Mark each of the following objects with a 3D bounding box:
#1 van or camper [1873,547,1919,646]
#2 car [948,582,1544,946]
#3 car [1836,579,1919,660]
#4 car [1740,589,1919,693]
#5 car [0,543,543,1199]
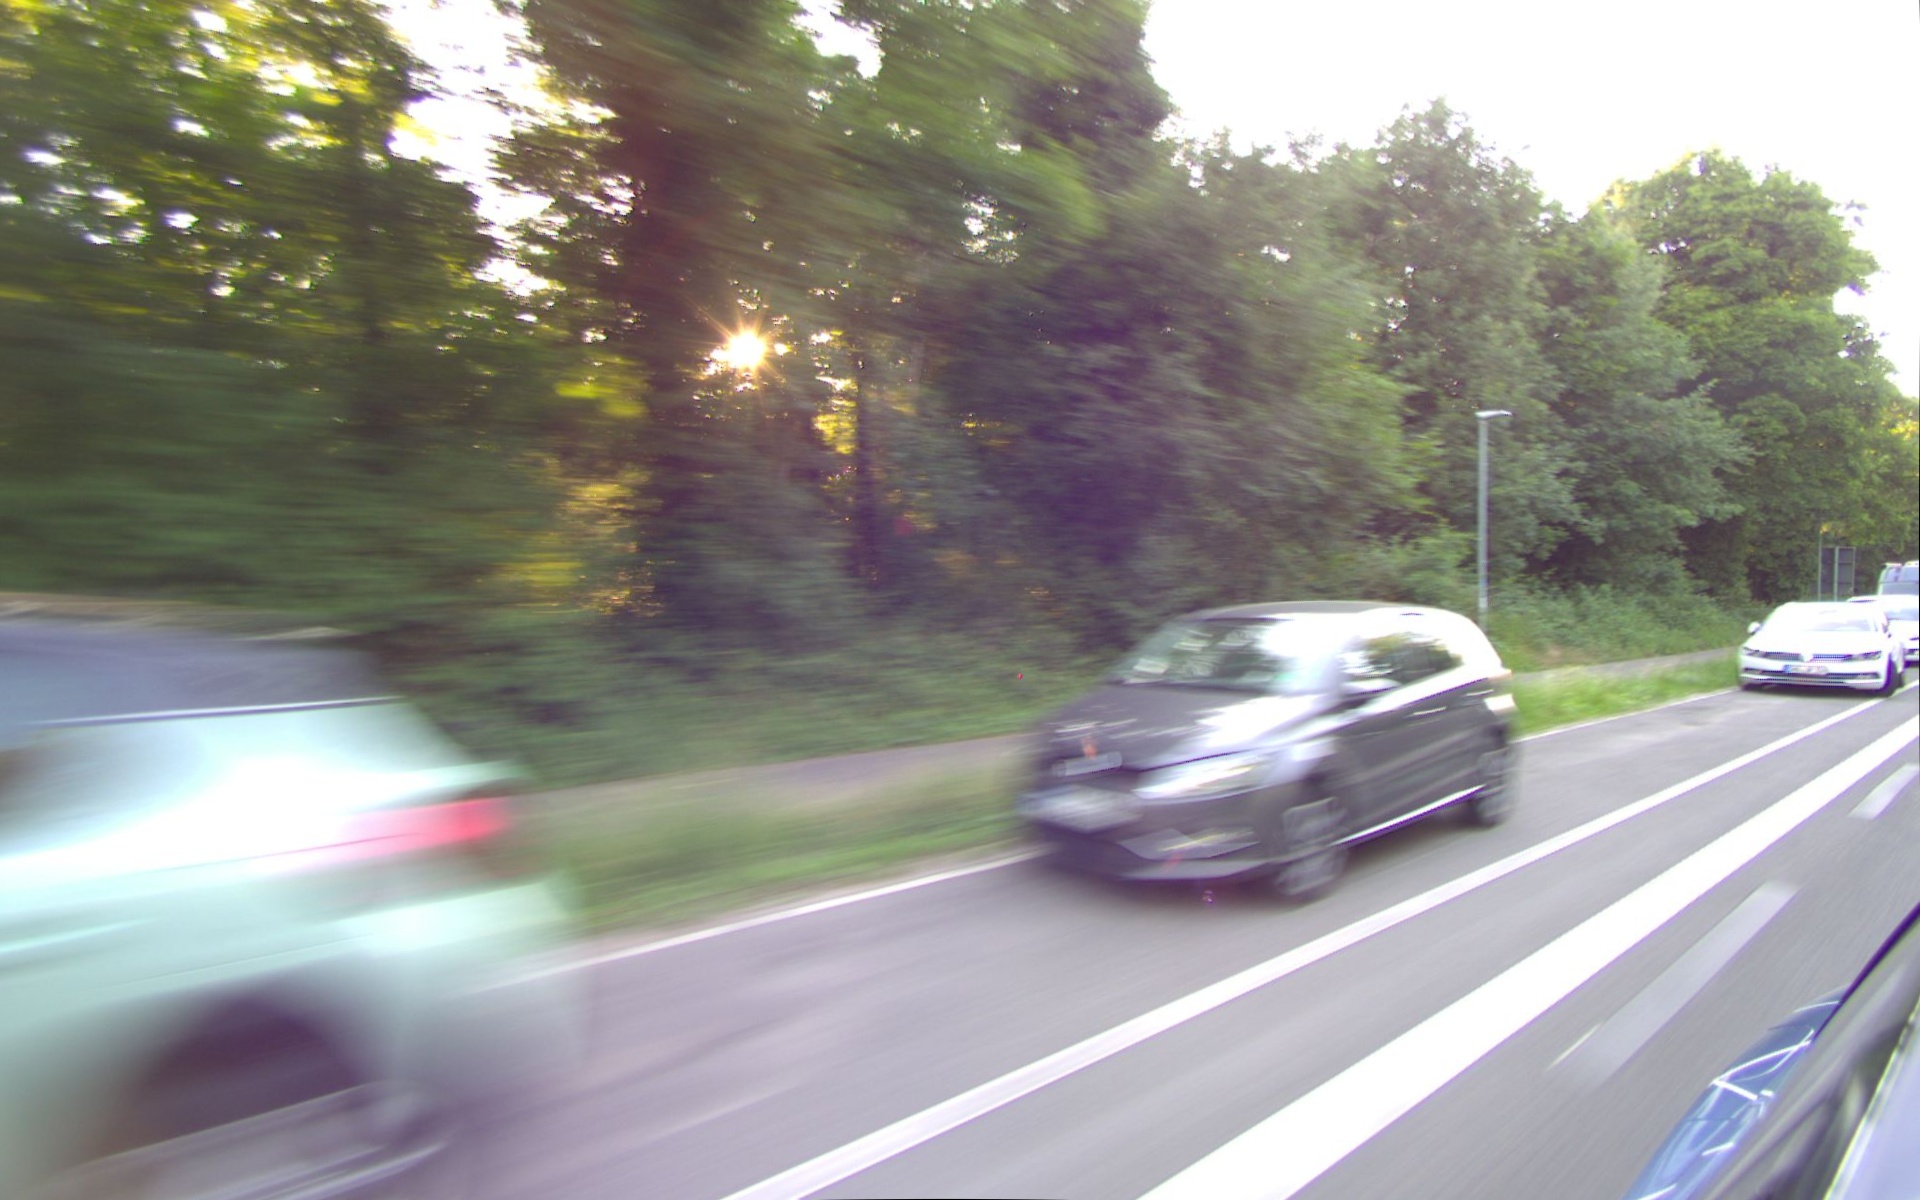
[{"bbox_3d":[27.335,-0.080,28.237,5.955,2.573,2.130,0,0,-42],"label":"van or camper"},{"bbox_3d":[1.912,0.650,6.040,3.893,1.464,1.581,0,2,-42],"label":"car"},{"bbox_3d":[22.482,0.421,24.195,4.645,1.787,1.853,0,0,-43],"label":"car"},{"bbox_3d":[14.703,0.596,16.965,4.679,1.512,1.845,0,0,-43],"label":"car"},{"bbox_3d":[-2.956,0.672,1.459,4.039,1.565,1.692,0,2,-40],"label":"car"}]
